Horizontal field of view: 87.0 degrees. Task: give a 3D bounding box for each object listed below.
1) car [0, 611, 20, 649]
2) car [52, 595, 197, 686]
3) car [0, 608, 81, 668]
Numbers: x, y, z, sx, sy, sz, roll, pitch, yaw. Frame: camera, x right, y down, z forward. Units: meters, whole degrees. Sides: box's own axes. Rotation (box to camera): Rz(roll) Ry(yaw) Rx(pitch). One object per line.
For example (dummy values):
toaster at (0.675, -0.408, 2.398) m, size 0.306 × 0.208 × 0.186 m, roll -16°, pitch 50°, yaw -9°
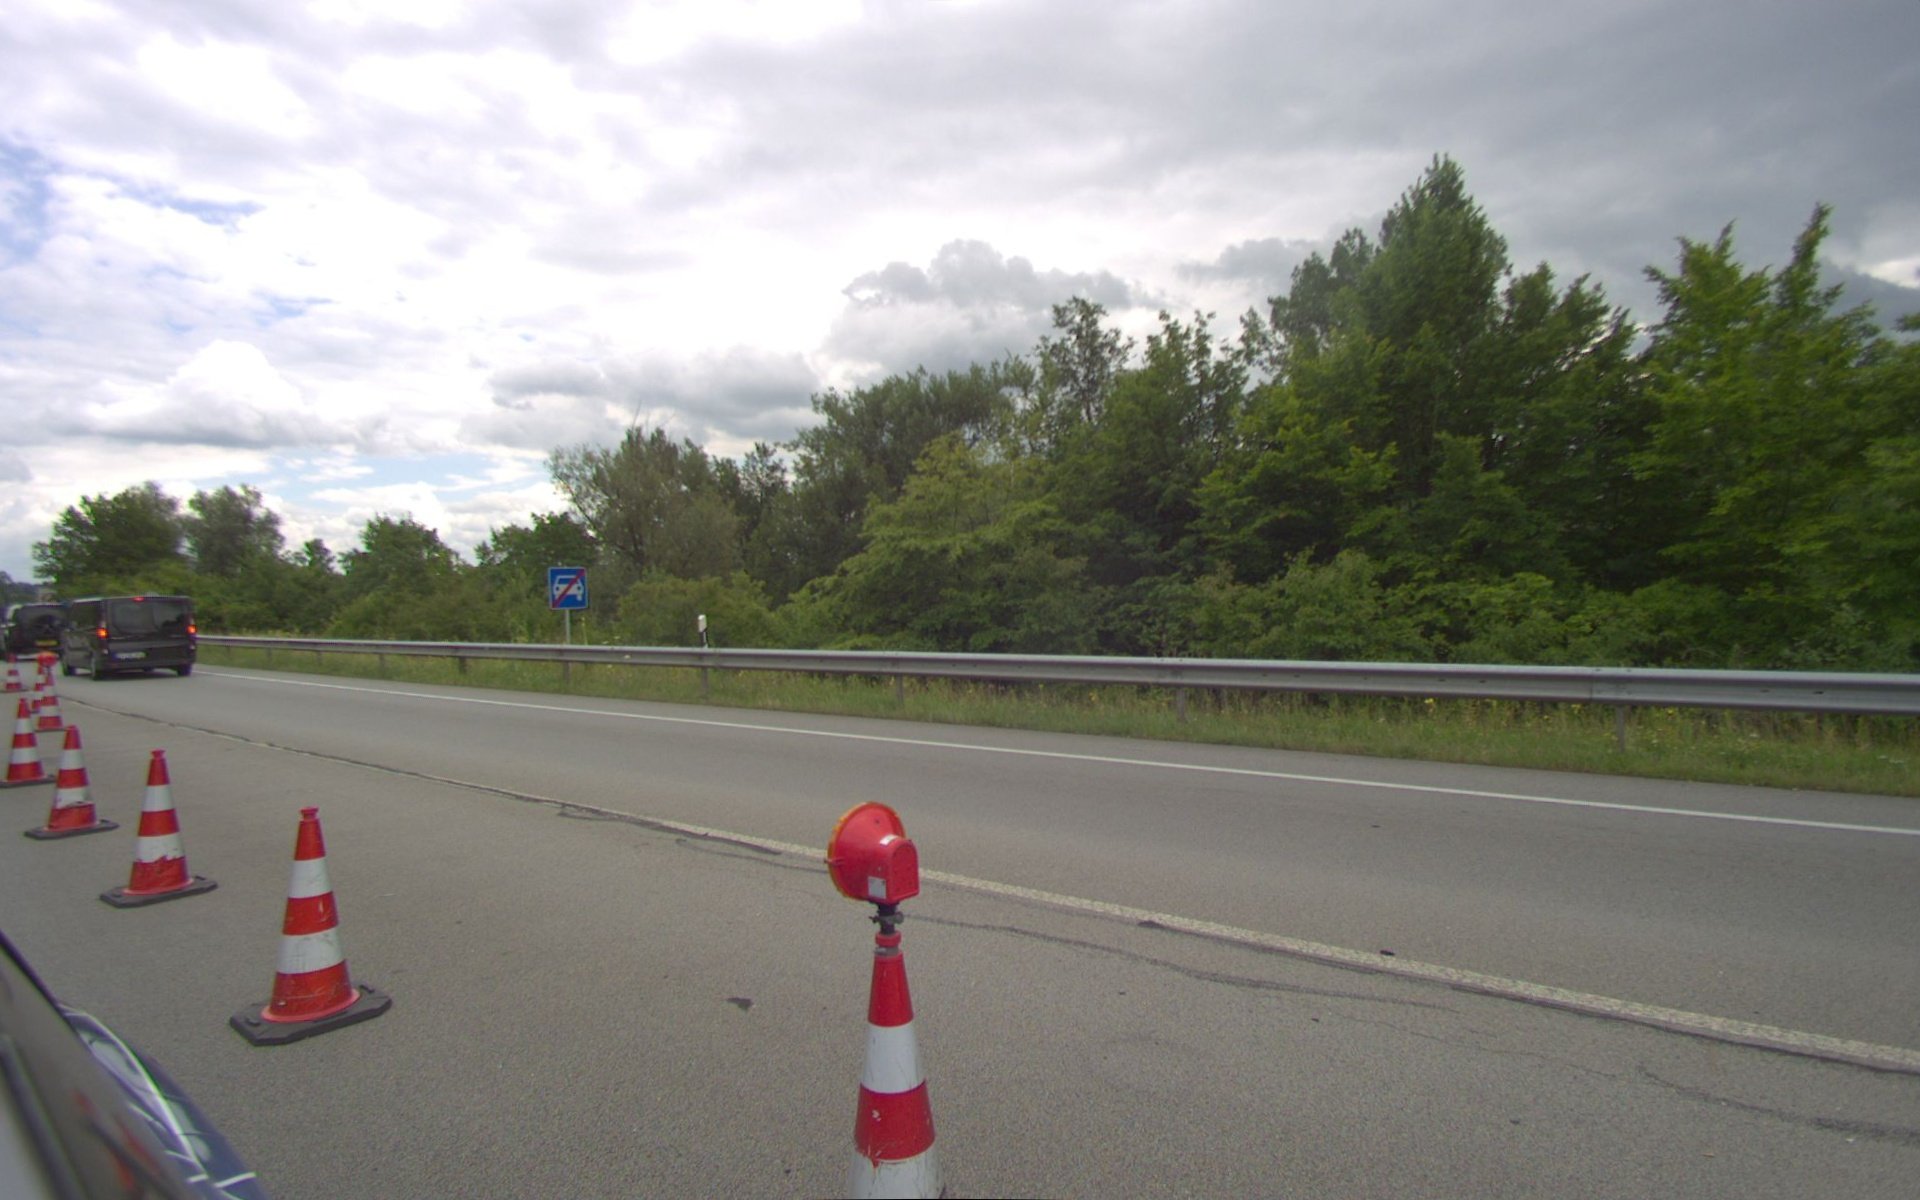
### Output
car at (-49.069, 1.530, 51.180) m, size 4.532 × 1.844 × 1.903 m, roll -1°, pitch -1°, yaw 43°
car at (-20.553, 0.932, 24.796) m, size 5.315 × 2.002 × 2.007 m, roll -1°, pitch -1°, yaw 42°
car at (-31.944, 1.264, 34.956) m, size 4.532 × 1.898 × 1.945 m, roll -1°, pitch -1°, yaw 43°
